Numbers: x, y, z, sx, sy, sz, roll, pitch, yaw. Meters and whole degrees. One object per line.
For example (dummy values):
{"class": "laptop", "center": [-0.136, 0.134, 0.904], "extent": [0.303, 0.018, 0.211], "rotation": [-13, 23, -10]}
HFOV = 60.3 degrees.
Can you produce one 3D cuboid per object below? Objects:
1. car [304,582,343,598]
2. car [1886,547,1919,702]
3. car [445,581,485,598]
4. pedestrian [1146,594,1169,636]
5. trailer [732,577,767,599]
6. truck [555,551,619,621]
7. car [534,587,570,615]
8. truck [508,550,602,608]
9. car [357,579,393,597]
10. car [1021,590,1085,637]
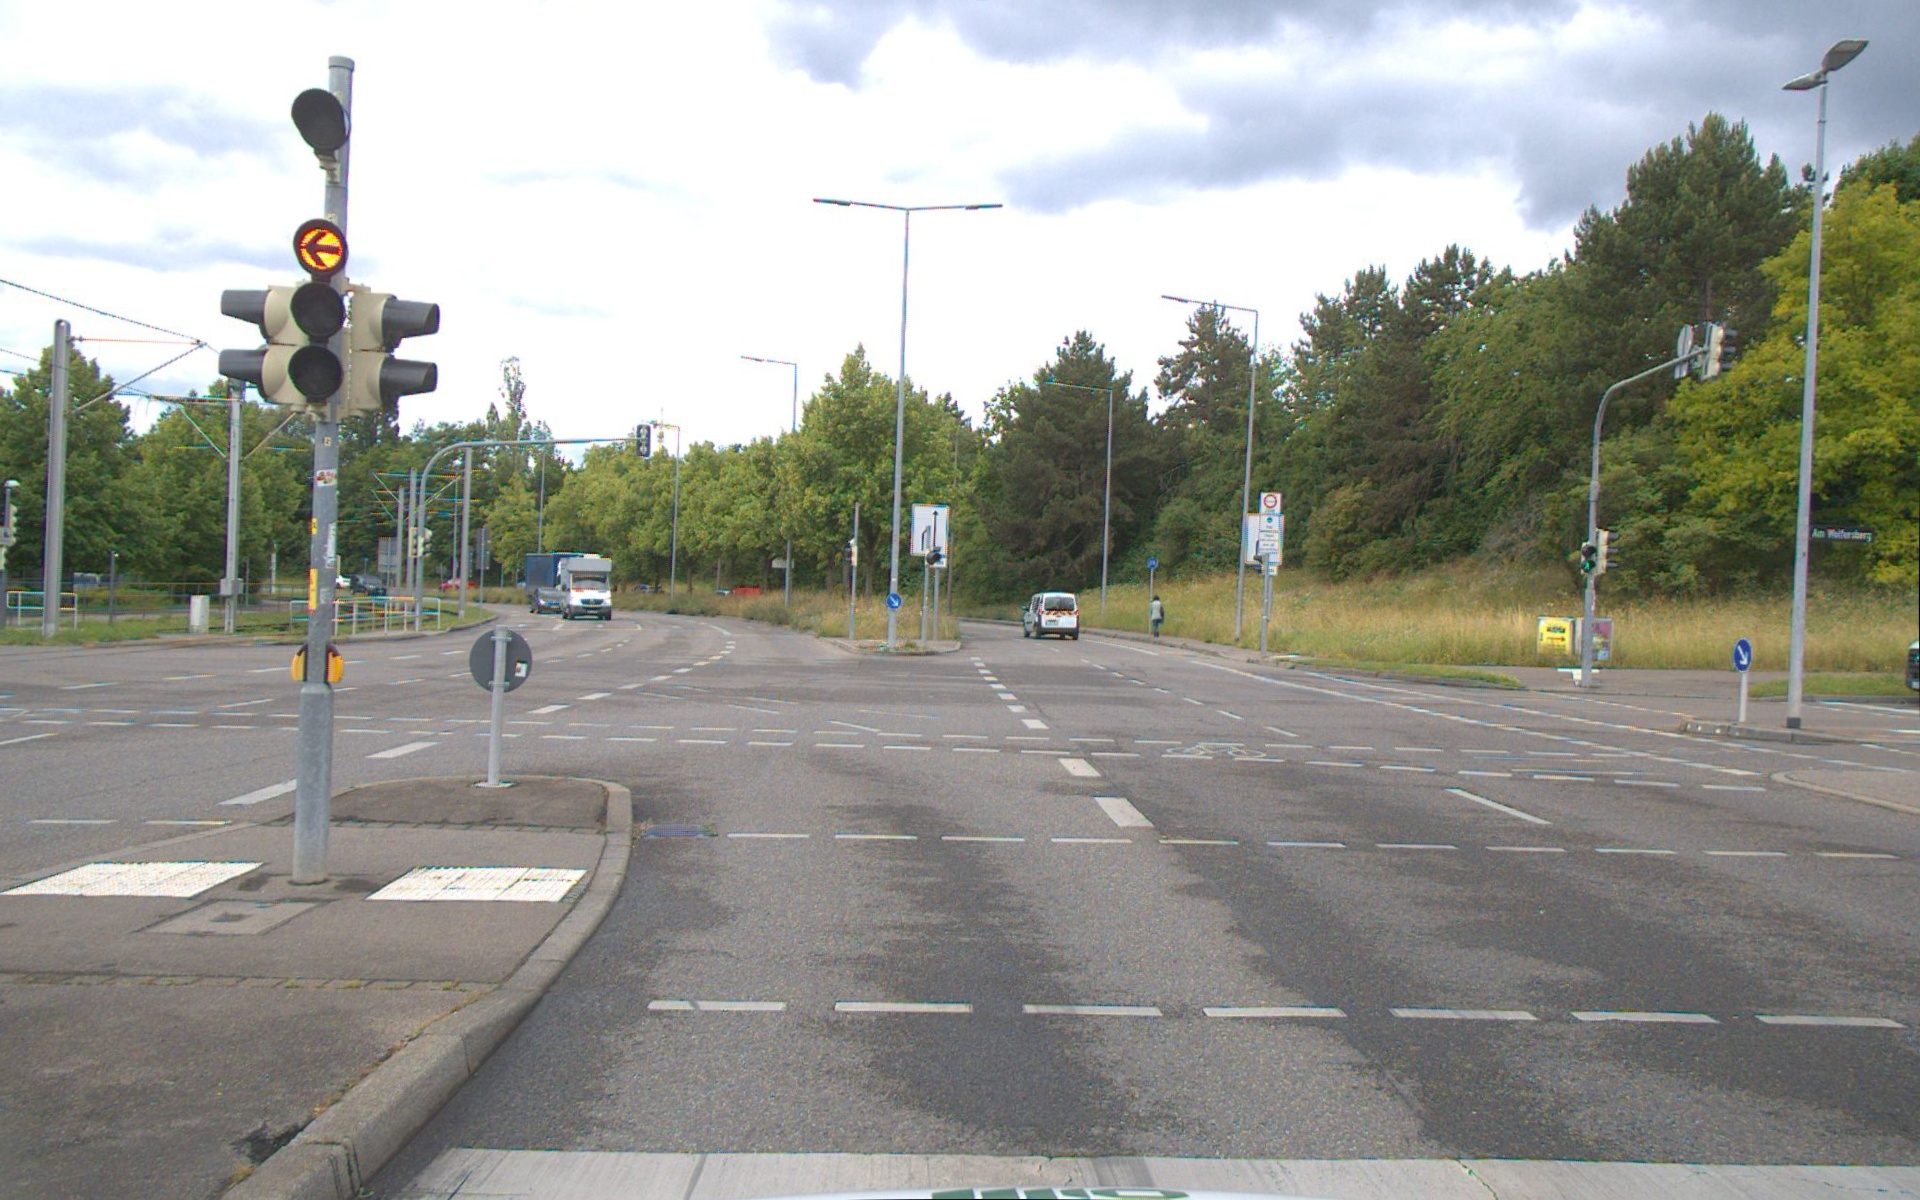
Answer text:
{"class": "car", "center": [-65.600, -1.080, 170.457], "extent": [3.938, 1.573, 1.780], "rotation": [1, 0, 31]}
{"class": "car", "center": [20.335, 0.467, 30.092], "extent": [5.772, 2.830, 2.135], "rotation": [0, 0, -1]}
{"class": "car", "center": [-47.348, -1.009, 158.054], "extent": [3.949, 1.573, 1.775], "rotation": [1, 0, 40]}
{"class": "pedestrian", "center": [7.858, 0.592, 65.922], "extent": [0.797, 1.656, 0.790], "rotation": [1, 0, -1]}
{"class": "trailer", "center": [-15.619, -0.899, 122.718], "extent": [1.743, 1.644, 3.019], "rotation": [1, 0, -26]}
{"class": "truck", "center": [-17.894, -0.651, 79.181], "extent": [2.085, 3.190, 5.862], "rotation": [1, 0, -21]}
{"class": "car", "center": [-23.993, 0.043, 97.190], "extent": [1.753, 1.471, 4.505], "rotation": [-1, 2, -18]}
{"class": "truck", "center": [-28.744, -1.432, 116.757], "extent": [3.017, 3.826, 12.684], "rotation": [1, 0, -30]}
{"class": "car", "center": [-52.936, -1.143, 149.618], "extent": [1.768, 1.471, 4.468], "rotation": [-1, 3, -37]}
{"class": "car", "center": [3.693, 0.547, 66.660], "extent": [1.955, 1.833, 4.834], "rotation": [0, 0, -4]}
